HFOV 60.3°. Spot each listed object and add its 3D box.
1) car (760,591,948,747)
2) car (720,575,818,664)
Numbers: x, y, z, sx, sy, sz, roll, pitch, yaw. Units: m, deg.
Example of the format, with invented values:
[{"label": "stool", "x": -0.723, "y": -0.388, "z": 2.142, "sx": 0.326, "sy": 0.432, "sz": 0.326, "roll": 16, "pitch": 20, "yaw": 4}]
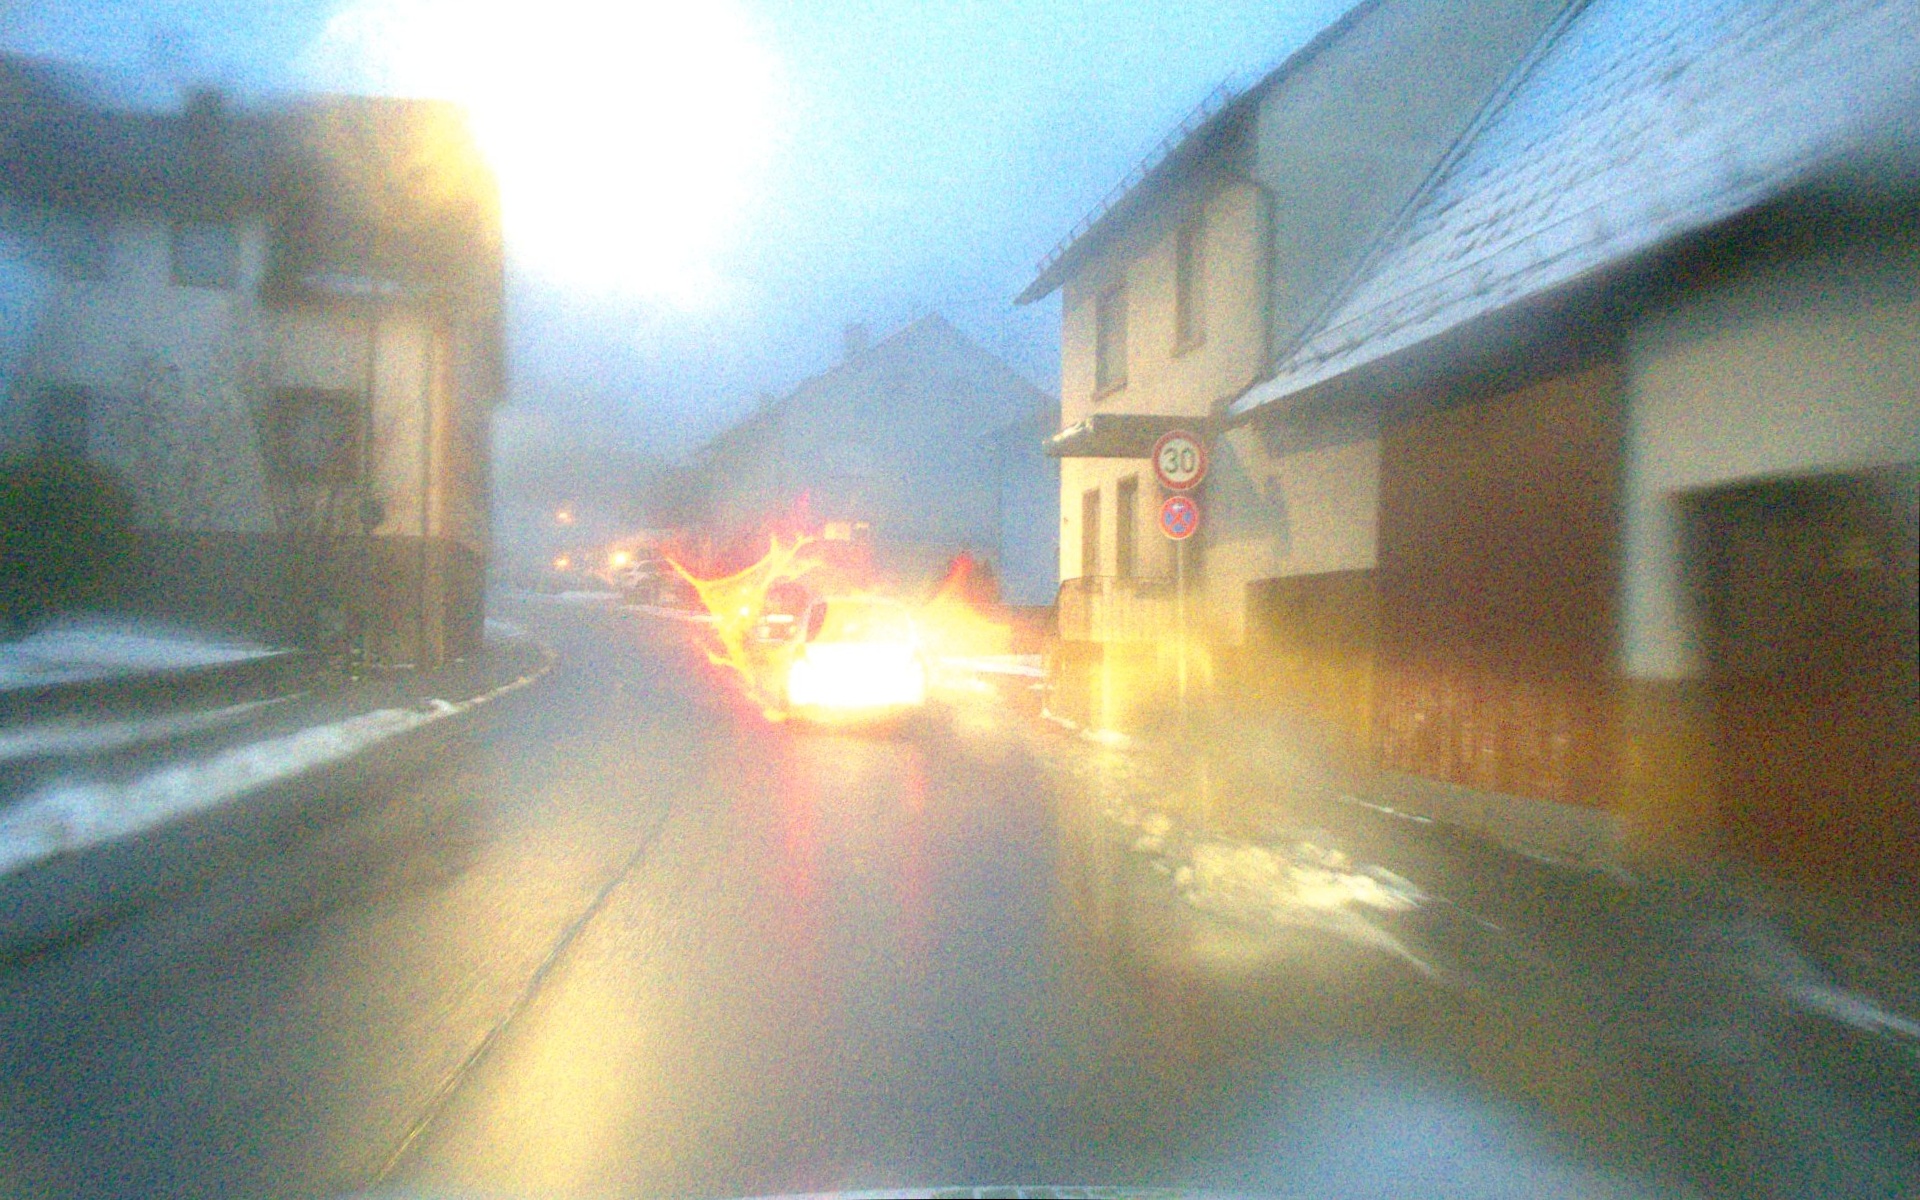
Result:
[{"label": "car", "x": -1.333, "y": 0.771, "z": 19.336, "sx": 1.617, "sy": 1.624, "sz": 3.687, "roll": 2, "pitch": -1, "yaw": -13}, {"label": "car", "x": -3.802, "y": 0.402, "z": 32.539, "sx": 1.616, "sy": 1.624, "sz": 3.689, "roll": 2, "pitch": -1, "yaw": -11}]
